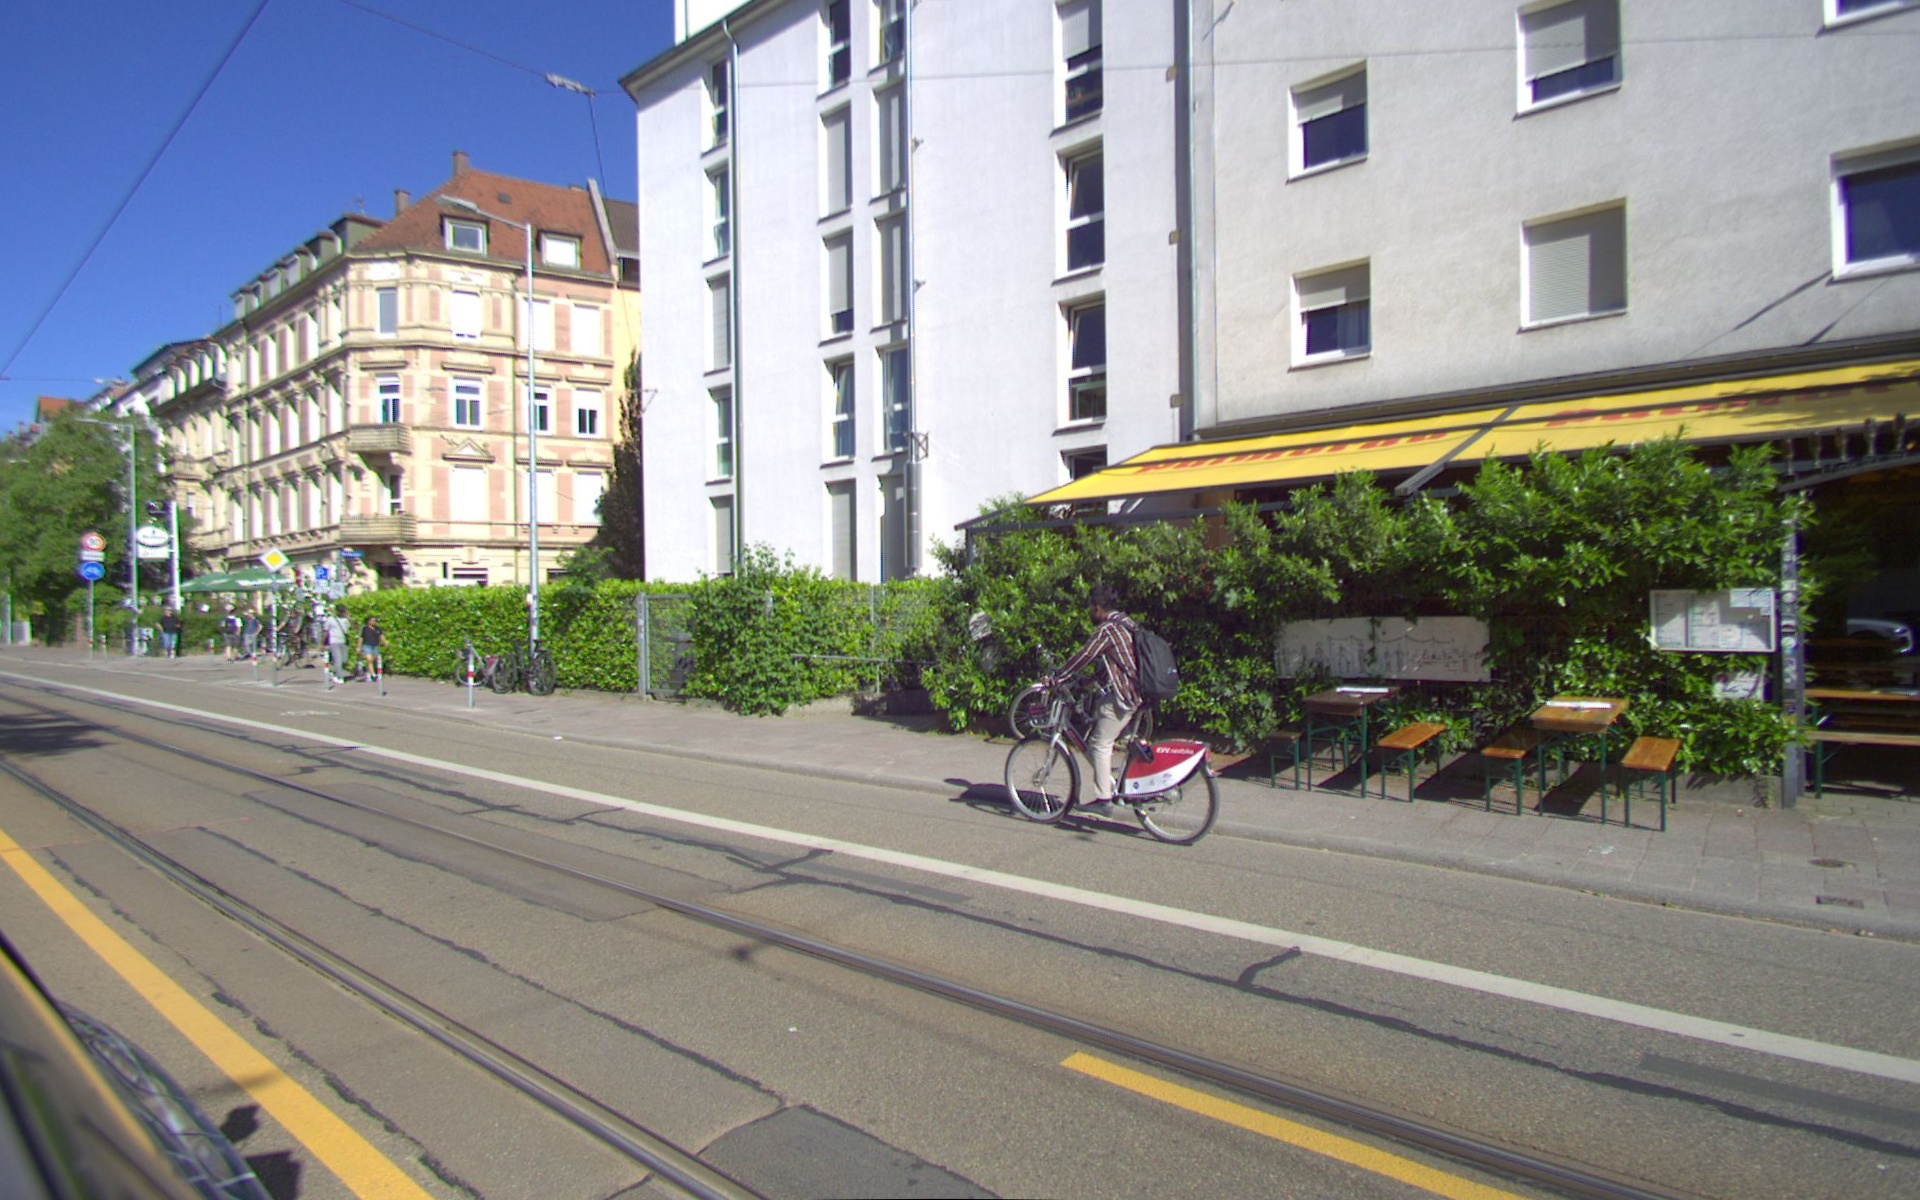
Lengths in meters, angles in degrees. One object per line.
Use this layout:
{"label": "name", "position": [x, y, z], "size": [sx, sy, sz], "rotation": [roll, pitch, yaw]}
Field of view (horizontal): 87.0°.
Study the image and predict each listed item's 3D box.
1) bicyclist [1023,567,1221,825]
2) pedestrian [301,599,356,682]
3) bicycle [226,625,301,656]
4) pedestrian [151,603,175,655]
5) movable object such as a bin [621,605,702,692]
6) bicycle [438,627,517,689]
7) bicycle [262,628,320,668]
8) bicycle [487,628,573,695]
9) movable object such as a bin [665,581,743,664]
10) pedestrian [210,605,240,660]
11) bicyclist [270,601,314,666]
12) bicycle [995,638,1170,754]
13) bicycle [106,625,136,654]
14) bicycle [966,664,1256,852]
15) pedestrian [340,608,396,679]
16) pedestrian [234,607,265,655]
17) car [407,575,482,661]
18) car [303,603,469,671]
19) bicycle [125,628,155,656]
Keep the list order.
{"label": "bicyclist", "position": [1.114, 0.622, 6.992], "size": [1.117, 1.612, 0.737], "rotation": [-1, -4, 41]}
{"label": "pedestrian", "position": [-13.611, 0.856, 21.826], "size": [0.808, 1.727, 0.747], "rotation": [-2, 1, 40]}
{"label": "bicycle", "position": [-25.938, 1.508, 37.699], "size": [2.212, 1.052, 0.877], "rotation": [0, 0, -41]}
{"label": "pedestrian", "position": [-28.080, 1.020, 35.664], "size": [0.538, 1.795, 0.552], "rotation": [-1, -1, 37]}
{"label": "movable object such as a bin", "position": [-5.258, 0.834, 17.815], "size": [1.257, 1.468, 0.799], "rotation": [-2, -2, 39]}
{"label": "bicycle", "position": [-9.406, 1.105, 19.696], "size": [1.839, 1.097, 0.655], "rotation": [0, 3, 41]}
{"label": "bicycle", "position": [-19.671, 1.397, 29.811], "size": [0.696, 1.063, 1.838], "rotation": [0, 0, -7]}
{"label": "bicycle", "position": [-7.831, 1.093, 18.385], "size": [1.839, 1.097, 0.655], "rotation": [0, 3, 41]}
{"label": "movable object such as a bin", "position": [-4.698, 0.417, 18.581], "size": [1.257, 1.468, 0.799], "rotation": [-2, -2, 39]}
{"label": "pedestrian", "position": [-24.182, 1.059, 33.308], "size": [0.682, 1.781, 0.869], "rotation": [0, -1, -26]}
{"label": "bicyclist", "position": [-19.648, 0.973, 29.782], "size": [0.696, 1.868, 0.987], "rotation": [0, 0, -7]}
{"label": "bicycle", "position": [1.255, 0.959, 10.606], "size": [1.742, 1.067, 0.632], "rotation": [-1, 1, 41]}
{"label": "bicycle", "position": [-32.273, 1.509, 38.928], "size": [2.221, 1.046, 0.508], "rotation": [-1, -1, 40]}
{"label": "bicycle", "position": [1.008, 1.015, 7.057], "size": [1.898, 1.090, 0.737], "rotation": [-1, -4, 41]}
{"label": "pedestrian", "position": [-13.065, 0.946, 22.328], "size": [0.956, 1.489, 0.747], "rotation": [-2, 1, 40]}
{"label": "pedestrian", "position": [-24.976, 1.068, 35.600], "size": [0.694, 1.667, 0.835], "rotation": [0, 0, -19]}
{"label": "car", "position": [-18.586, 0.595, 36.375], "size": [1.861, 2.862, 4.797], "rotation": [0, 0, -33]}
{"label": "car", "position": [-16.305, 0.998, 28.902], "size": [3.984, 1.820, 1.797], "rotation": [0, 0, -29]}
{"label": "bicycle", "position": [-29.473, 1.496, 36.378], "size": [1.776, 0.988, 0.522], "rotation": [-1, -1, 40]}
